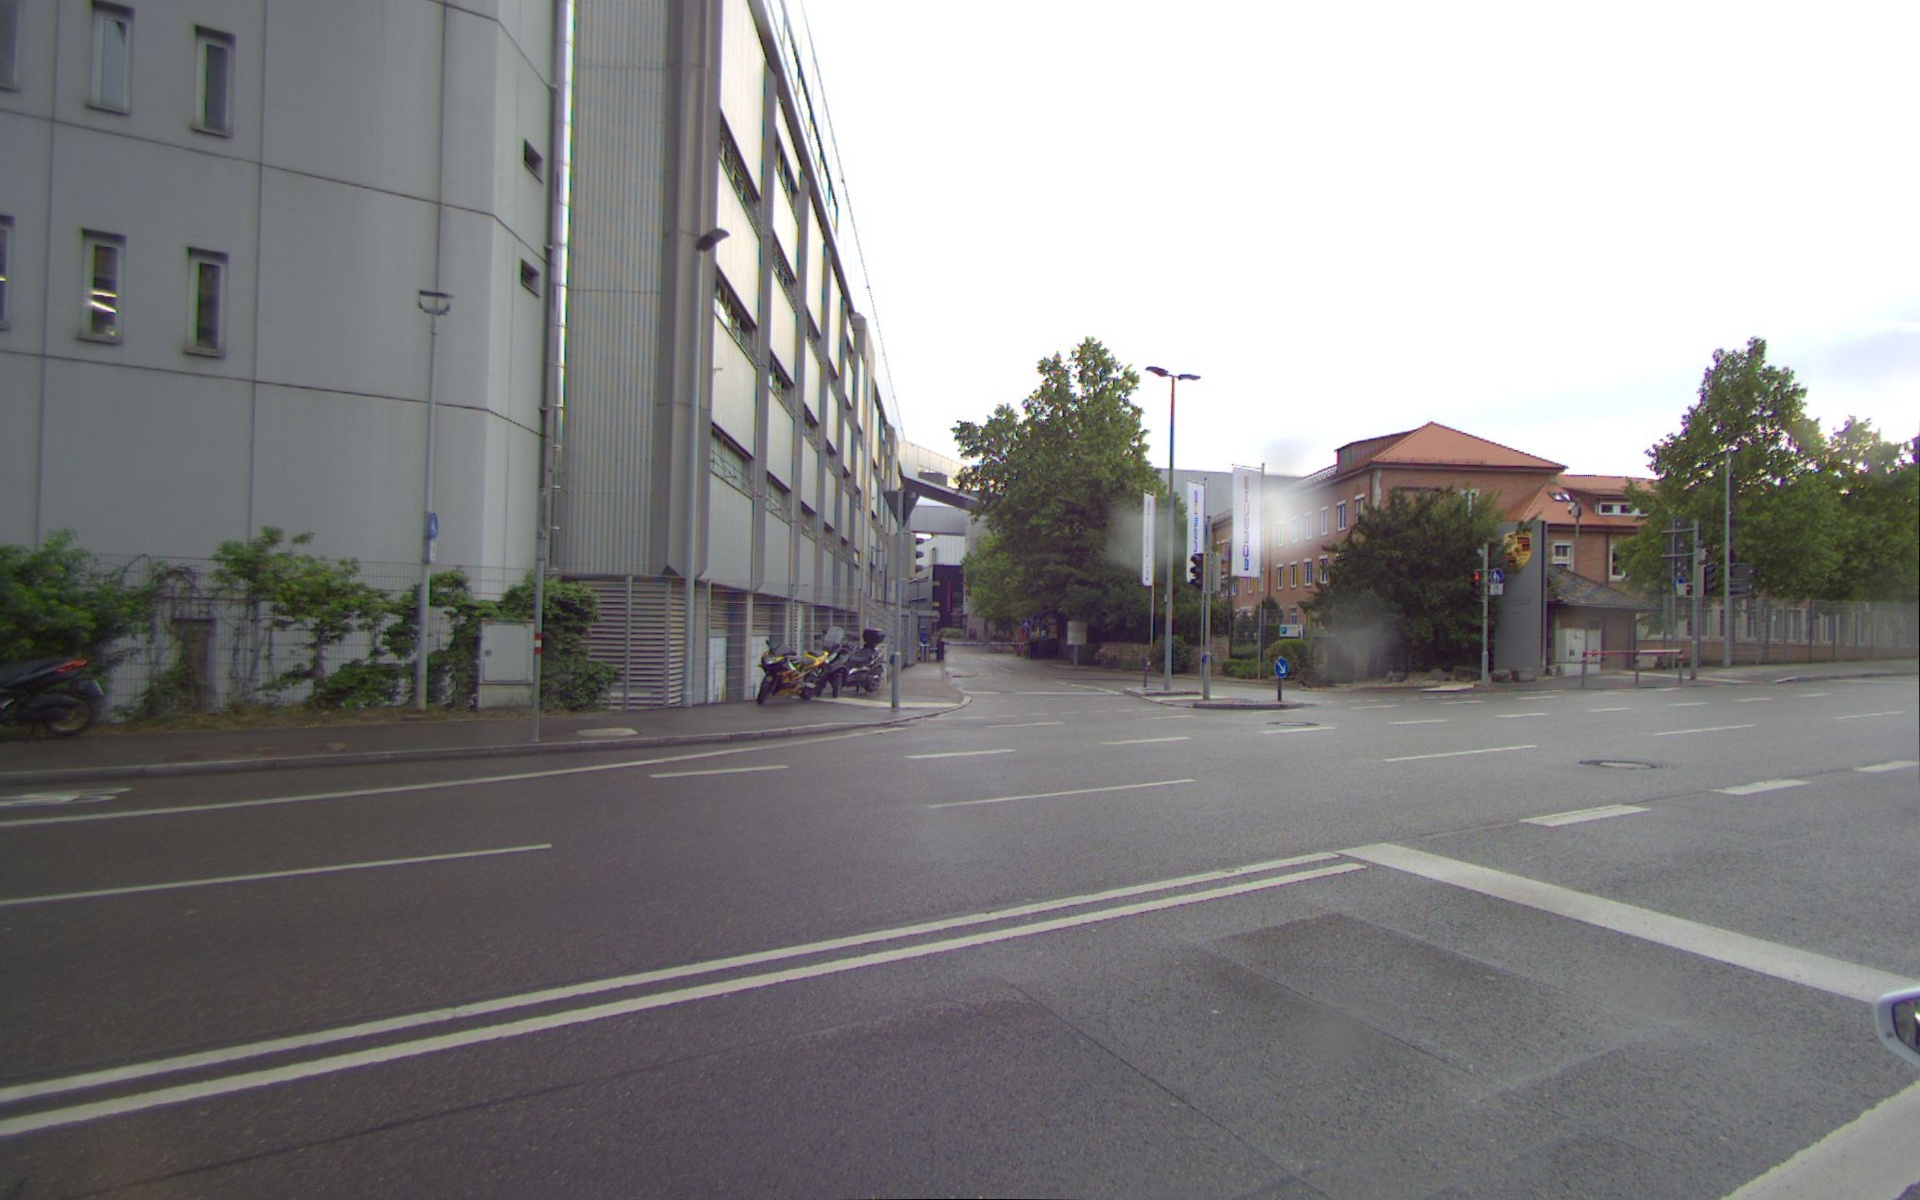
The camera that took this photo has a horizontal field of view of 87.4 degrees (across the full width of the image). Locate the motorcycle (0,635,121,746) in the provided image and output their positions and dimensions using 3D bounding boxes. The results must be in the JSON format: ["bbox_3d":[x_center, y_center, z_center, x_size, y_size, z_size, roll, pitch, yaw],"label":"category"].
[{"bbox_3d":[-11.349,1.051,11.816,2.133,1.263,0.780,2,-2,-32],"label":"motorcycle"}]

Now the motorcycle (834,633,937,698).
[{"bbox_3d":[-1.613,1.428,22.529,1.008,1.355,2.772,-1,-2,27],"label":"motorcycle"}]

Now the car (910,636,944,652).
[{"bbox_3d":[-4.265,5.753,130.952,3.913,1.849,1.955,2,0,-31],"label":"car"}]

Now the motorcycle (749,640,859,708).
[{"bbox_3d":[-3.066,1.442,20.091,0.759,1.234,2.504,0,-2,30],"label":"motorcycle"}]
